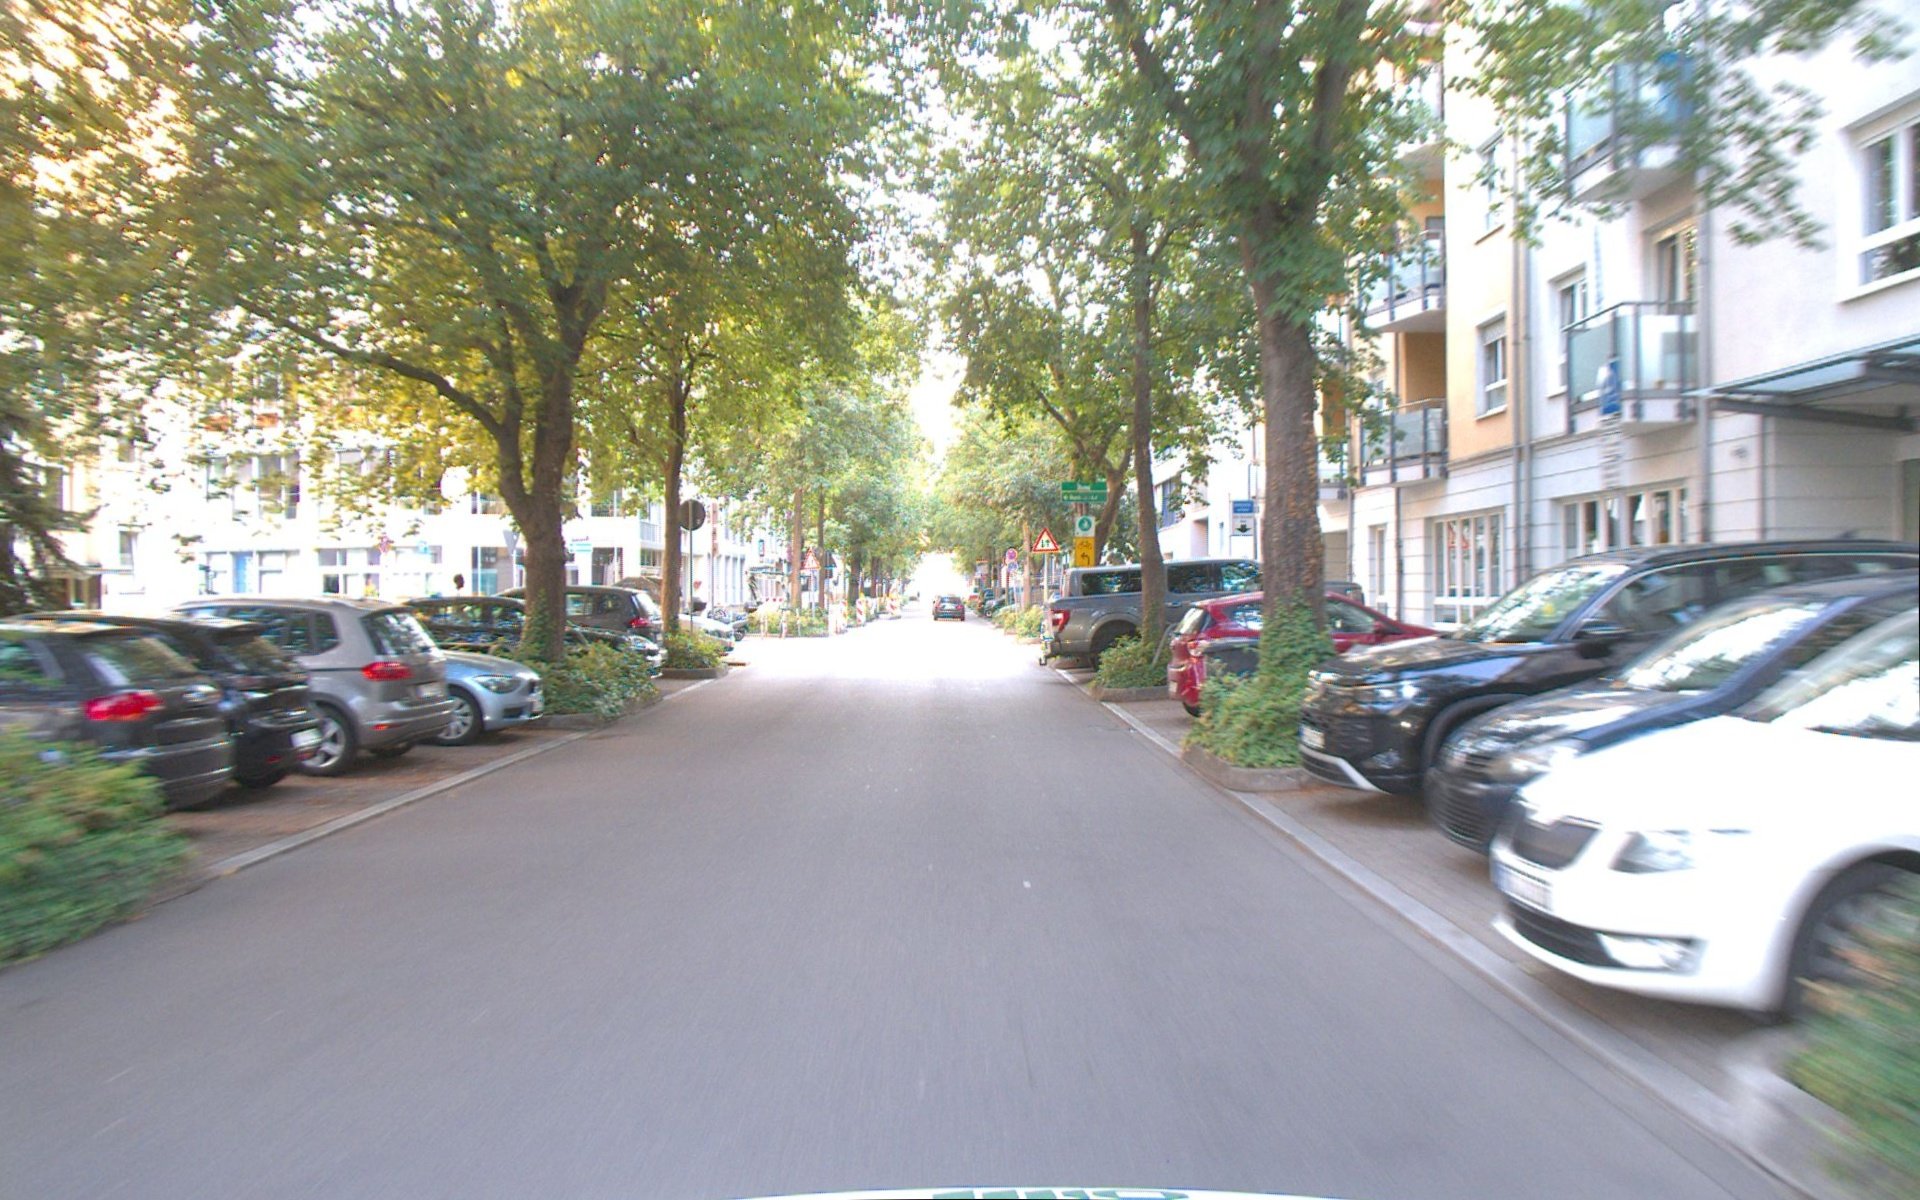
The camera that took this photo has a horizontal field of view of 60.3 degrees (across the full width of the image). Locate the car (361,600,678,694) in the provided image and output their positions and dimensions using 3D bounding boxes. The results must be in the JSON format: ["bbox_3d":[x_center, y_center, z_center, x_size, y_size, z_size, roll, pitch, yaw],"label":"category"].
[{"bbox_3d":[-7.027,0.725,26.794,4.621,1.449,2.070,0,0,-3],"label":"car"}]

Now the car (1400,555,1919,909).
[{"bbox_3d":[4.553,0.588,8.809,3.905,1.552,1.727,-4,0,1],"label":"car"}]

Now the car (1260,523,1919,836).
[{"bbox_3d":[4.499,0.470,11.520,4.303,1.733,1.892,-4,0,-9],"label":"car"}]

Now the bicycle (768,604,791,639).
[{"bbox_3d":[-6.181,0.734,56.817,0.589,1.137,1.799,-1,1,-1],"label":"bicycle"}]

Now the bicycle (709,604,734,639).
[{"bbox_3d":[-8.201,0.735,56.876,0.589,1.137,1.799,-1,1,-1],"label":"bicycle"}]

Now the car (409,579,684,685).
[{"bbox_3d":[-7.148,0.542,28.968,4.308,1.714,2.063,1,0,-3],"label":"car"}]

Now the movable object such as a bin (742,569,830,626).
[{"bbox_3d":[-7.510,-0.100,71.817,3.592,2.373,2.582,-1,0,-3],"label":"movable object such as a bin"}]

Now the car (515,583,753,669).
[{"bbox_3d":[-6.599,0.515,33.856,4.406,1.609,2.055,1,0,0],"label":"car"}]

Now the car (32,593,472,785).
[{"bbox_3d":[-6.474,0.775,15.415,3.336,1.637,1.760,-1,0,-3],"label":"car"}]

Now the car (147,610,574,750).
[{"bbox_3d":[-6.429,0.840,18.089,4.018,1.403,1.746,1,0,-3],"label":"car"}]

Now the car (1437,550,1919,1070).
[{"bbox_3d":[4.322,0.566,6.212,4.480,1.579,1.772,-3,0,-2],"label":"car"}]

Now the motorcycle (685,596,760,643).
[{"bbox_3d":[-7.677,0.607,53.493,2.358,1.466,0.790,-1,0,-41],"label":"motorcycle"}]

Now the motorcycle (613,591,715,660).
[{"bbox_3d":[-6.696,0.580,37.499,2.171,1.520,0.691,-1,0,1],"label":"motorcycle"}]

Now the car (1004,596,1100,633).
[{"bbox_3d":[4.202,0.663,76.128,4.345,1.619,1.629,-1,0,1],"label":"car"}]

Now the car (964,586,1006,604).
[{"bbox_3d":[2.394,-0.492,160.396,3.908,1.625,1.998,0,0,-4],"label":"car"}]

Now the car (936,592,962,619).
[{"bbox_3d":[-0.620,0.301,93.987,1.470,1.441,3.713,-1,0,-1],"label":"car"}]

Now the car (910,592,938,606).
[{"bbox_3d":[-5.328,-0.154,245.728,3.913,1.948,1.774,-1,0,-9],"label":"car"}]

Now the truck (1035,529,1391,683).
[{"bbox_3d":[4.402,0.099,29.543,5.883,2.169,2.260,-5,0,-1],"label":"truck"}]

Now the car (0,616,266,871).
[{"bbox_3d":[-6.410,0.866,10.484,3.336,1.467,1.593,-1,0,-3],"label":"car"}]

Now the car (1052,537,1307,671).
[{"bbox_3d":[4.167,0.068,32.015,4.527,2.170,2.036,-4,0,-1],"label":"car"}]

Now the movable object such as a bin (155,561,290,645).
[{"bbox_3d":[-24.265,0.118,54.410,4.015,2.680,1.801,0,0,24],"label":"movable object such as a bin"}]

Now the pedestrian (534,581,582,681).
[{"bbox_3d":[-7.415,0.568,30.508,0.692,1.819,0.521,0,0,-41],"label":"pedestrian"}]

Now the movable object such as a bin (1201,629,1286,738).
[{"bbox_3d":[2.944,0.858,17.219,0.759,1.086,0.589,-1,0,-2],"label":"movable object such as a bin"}]

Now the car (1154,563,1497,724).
[{"bbox_3d":[4.297,0.514,19.843,3.592,1.575,1.779,-4,-1,-3],"label":"car"}]

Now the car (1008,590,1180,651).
[{"bbox_3d":[3.542,0.520,43.906,4.205,1.534,1.866,-1,0,-13],"label":"car"}]

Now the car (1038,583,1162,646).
[{"bbox_3d":[3.899,0.392,46.400,3.282,1.552,1.746,-3,0,0],"label":"car"}]

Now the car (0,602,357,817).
[{"bbox_3d":[-6.679,0.806,12.906,3.336,1.533,1.663,-1,0,-3],"label":"car"}]
